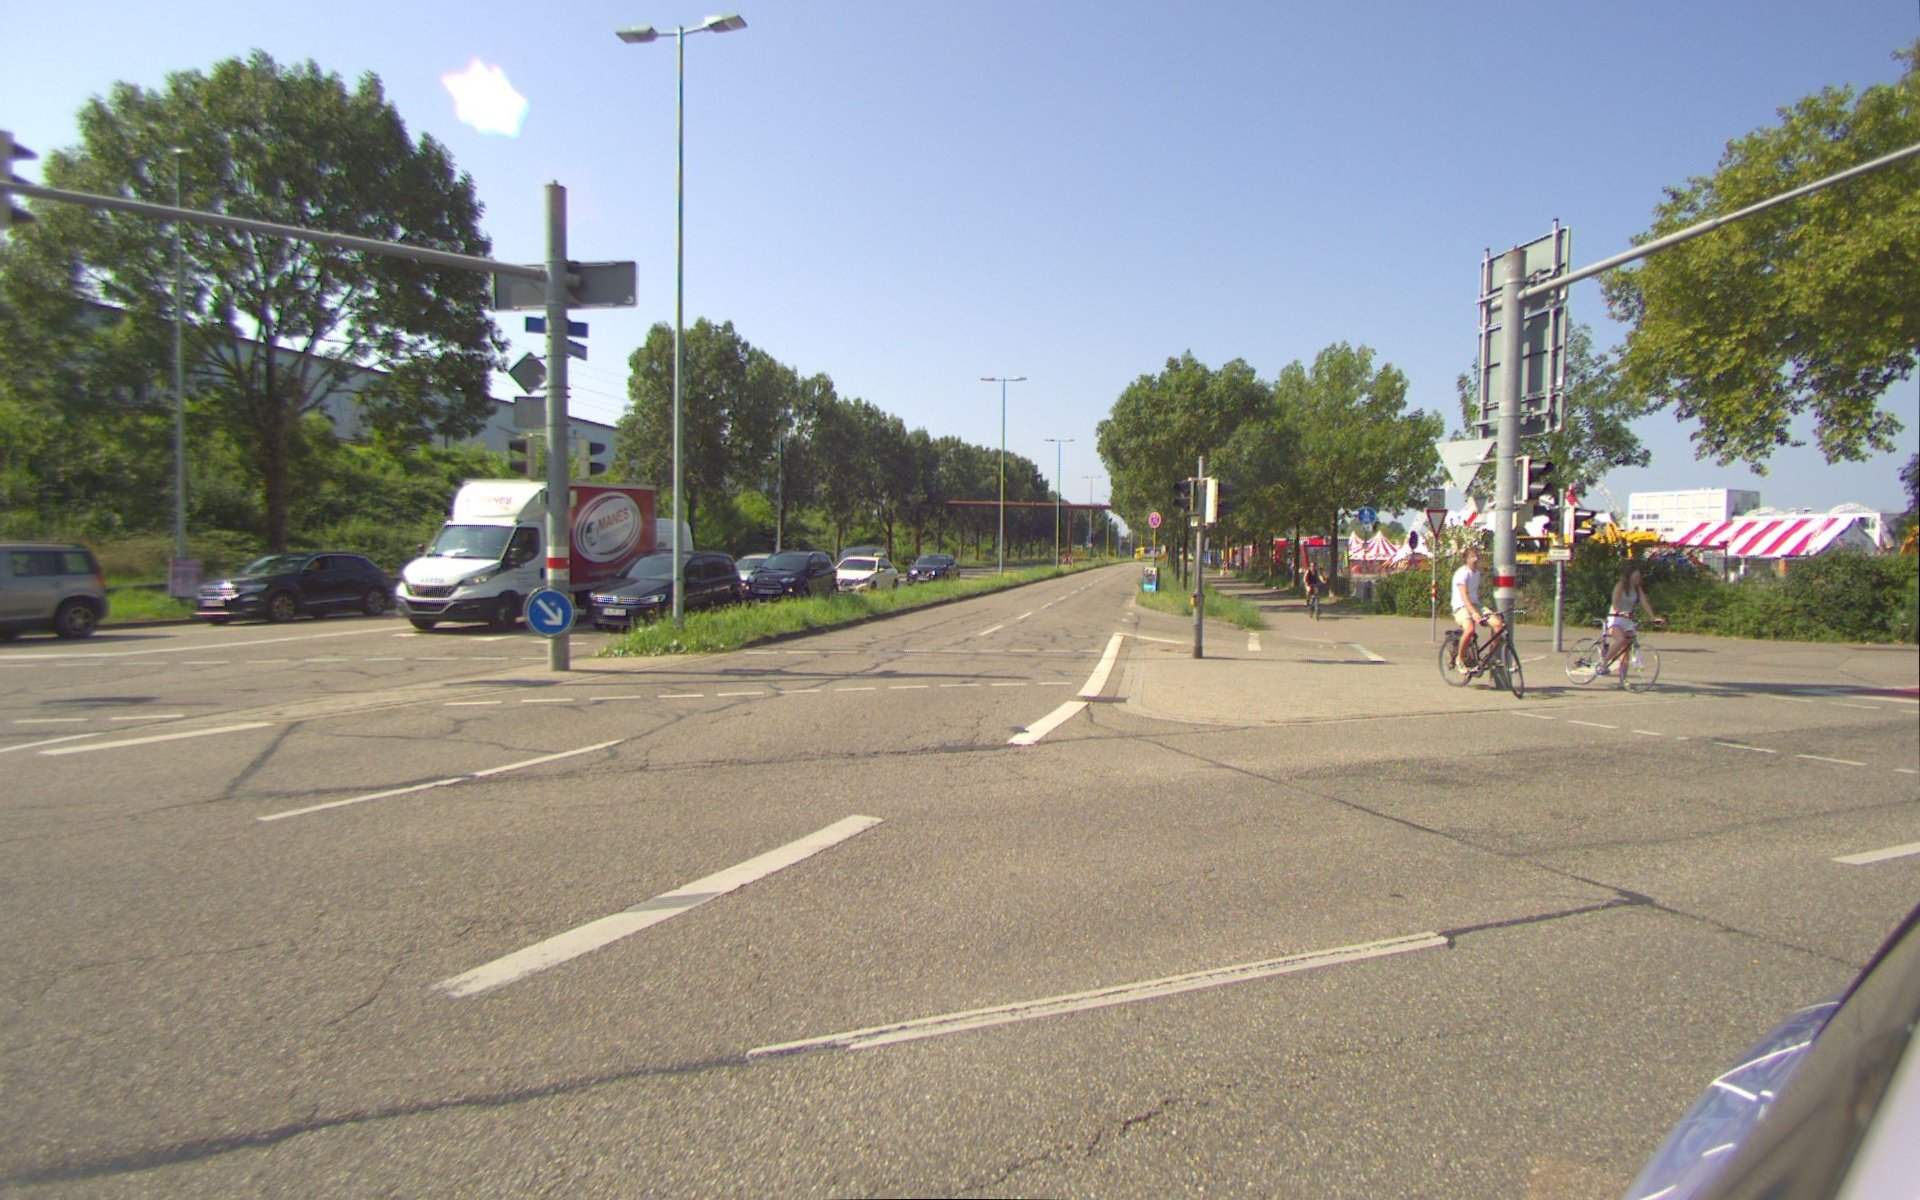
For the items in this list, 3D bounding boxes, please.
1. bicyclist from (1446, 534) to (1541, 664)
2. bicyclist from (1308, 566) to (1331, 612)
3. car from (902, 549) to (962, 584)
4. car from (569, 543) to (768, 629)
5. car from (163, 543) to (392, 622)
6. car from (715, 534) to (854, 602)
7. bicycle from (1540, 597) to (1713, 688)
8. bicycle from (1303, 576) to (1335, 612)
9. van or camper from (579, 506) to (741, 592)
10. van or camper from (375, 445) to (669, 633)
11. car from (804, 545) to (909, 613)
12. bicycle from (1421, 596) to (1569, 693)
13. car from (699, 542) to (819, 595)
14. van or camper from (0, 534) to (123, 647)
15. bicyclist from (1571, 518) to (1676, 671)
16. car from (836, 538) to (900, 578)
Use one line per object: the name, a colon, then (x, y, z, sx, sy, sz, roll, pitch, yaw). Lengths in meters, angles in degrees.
bicyclist: (6.971, -0.014, 13.273, 0.586, 1.614, 1.205, -1, 0, 0)
bicyclist: (10.900, -0.335, 30.664, 0.499, 1.382, 0.688, -1, 0, 34)
car: (-1.197, -1.458, 45.109, 1.633, 1.416, 3.737, 0, 0, 15)
car: (-6.115, -0.278, 22.017, 1.878, 1.633, 5.175, -1, 0, 13)
car: (-14.915, -0.437, 22.420, 1.968, 1.571, 3.991, -1, 3, 10)
car: (-4.932, -0.867, 29.379, 2.114, 1.762, 5.202, -1, 0, 13)
bicycle: (9.233, 0.546, 14.163, 0.757, 1.101, 2.266, -1, 1, -6)
bicycle: (10.872, -0.190, 30.627, 0.568, 1.069, 1.476, -1, 0, 33)
van or camper: (-9.714, -1.541, 33.598, 2.214, 2.514, 6.842, -1, 0, 11)
van or camper: (-9.034, -1.129, 21.893, 2.216, 3.405, 6.823, -1, 0, 13)
car: (-3.640, -0.721, 36.726, 2.216, 2.290, 5.202, -1, 0, 13)
bicycle: (7.054, 0.545, 13.504, 0.758, 1.101, 2.221, 1, 2, 0)
car: (-6.695, -1.014, 34.386, 2.134, 1.629, 4.955, -1, 0, 13)
van or camper: (-16.112, -0.142, 16.047, 1.823, 1.799, 4.159, -1, 0, 12)
bicyclist: (9.219, -0.080, 14.113, 0.586, 2.039, 1.206, -1, 0, -5)
car: (-4.097, -1.858, 45.729, 1.634, 1.685, 3.736, -1, 0, 16)
